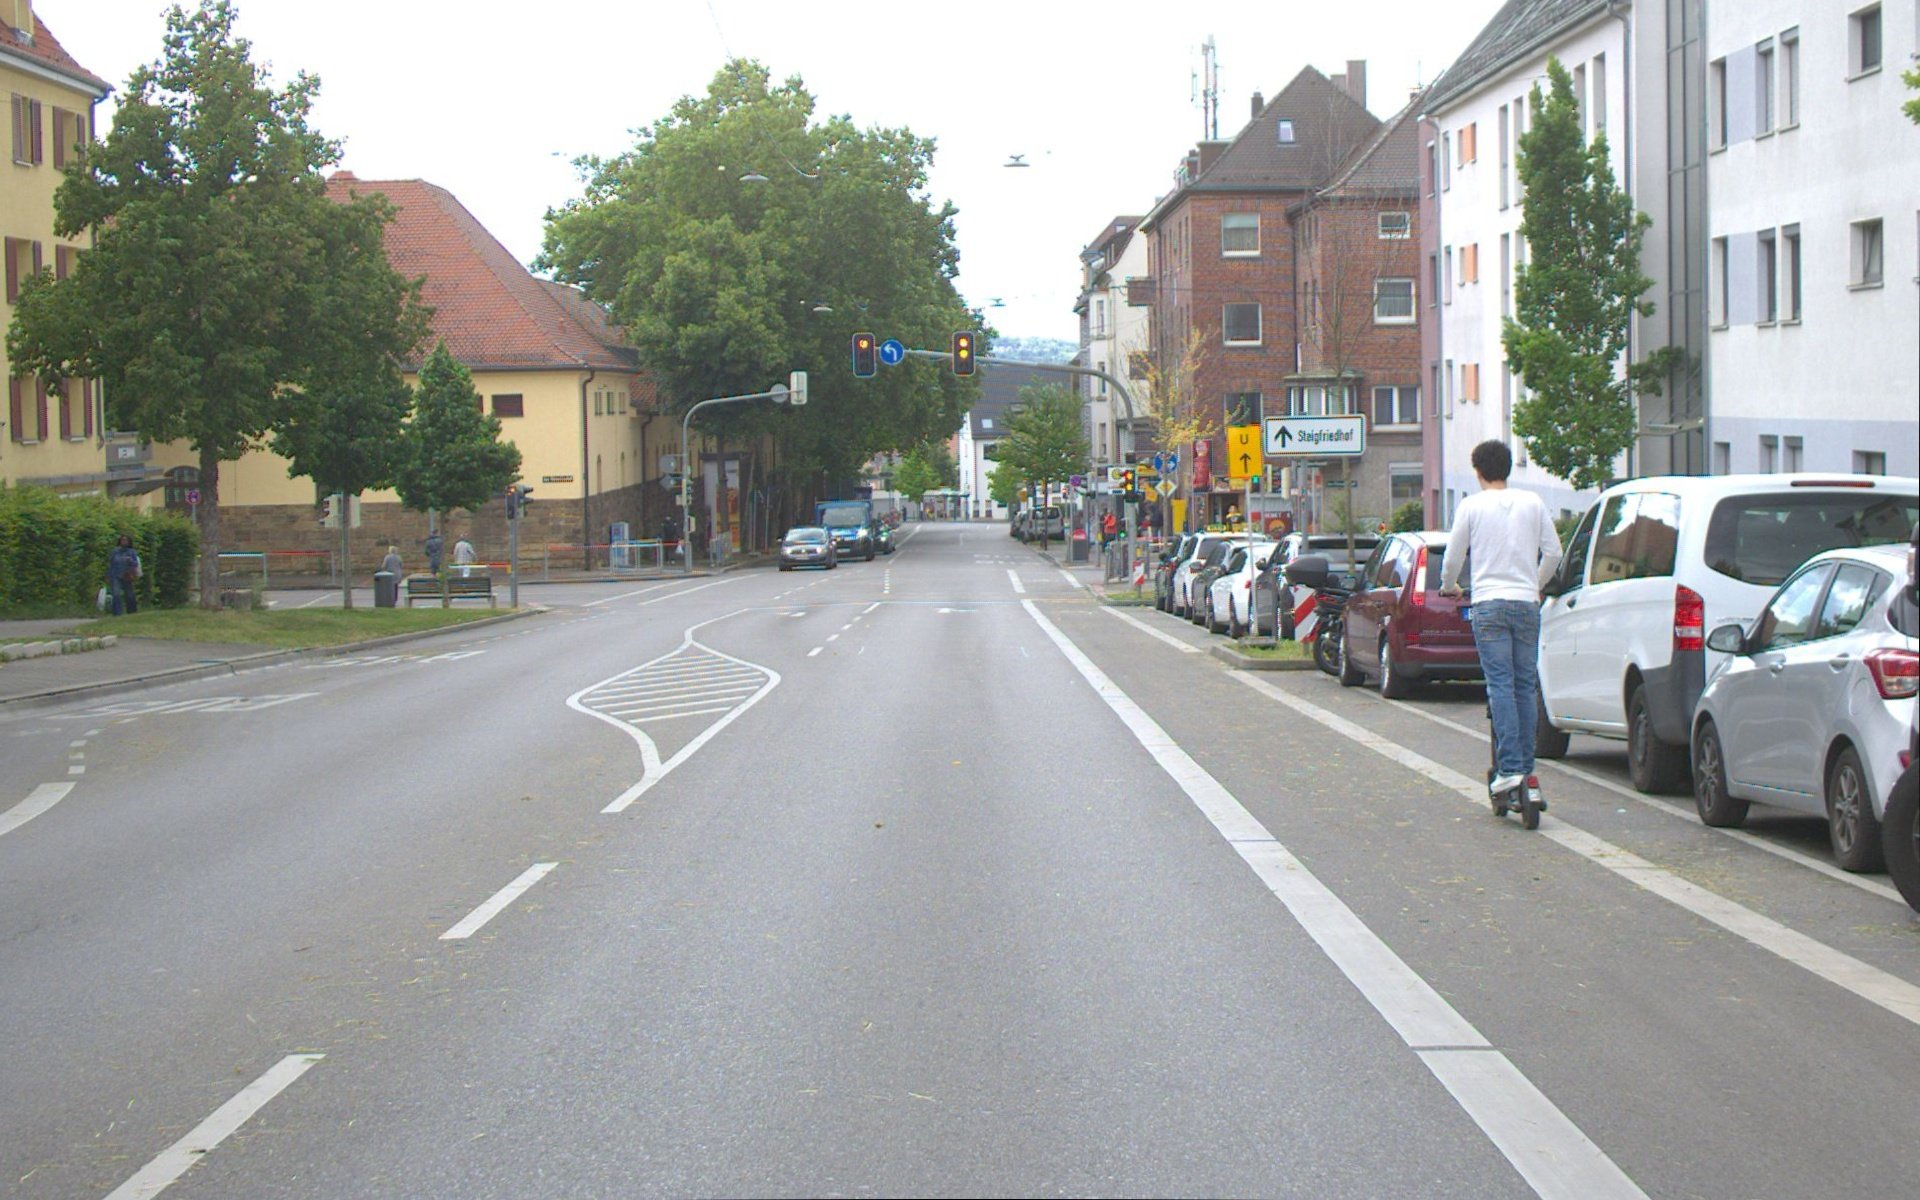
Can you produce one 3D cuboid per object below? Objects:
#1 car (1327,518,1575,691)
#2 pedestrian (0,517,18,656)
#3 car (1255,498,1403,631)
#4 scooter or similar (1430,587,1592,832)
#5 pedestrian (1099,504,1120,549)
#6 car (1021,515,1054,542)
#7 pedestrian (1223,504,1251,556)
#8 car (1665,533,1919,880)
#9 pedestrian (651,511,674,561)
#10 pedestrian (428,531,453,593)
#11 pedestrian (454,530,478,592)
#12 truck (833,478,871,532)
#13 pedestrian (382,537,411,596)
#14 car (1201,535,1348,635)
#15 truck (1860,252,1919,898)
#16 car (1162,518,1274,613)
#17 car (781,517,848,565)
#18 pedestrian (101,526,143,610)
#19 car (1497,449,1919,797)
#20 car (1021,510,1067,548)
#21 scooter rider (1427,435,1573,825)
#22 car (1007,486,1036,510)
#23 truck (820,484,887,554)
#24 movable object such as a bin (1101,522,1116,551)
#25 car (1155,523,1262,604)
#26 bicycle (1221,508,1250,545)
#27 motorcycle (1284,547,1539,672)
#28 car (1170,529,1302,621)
[{"bbox_3d":[4.680,-0.010,33.316,1.680,1.539,4.339,0,2,-1],"label":"car"},{"bbox_3d":[-12.114,-0.170,42.598,0.597,1.721,0.861,0,1,3],"label":"pedestrian"},{"bbox_3d":[5.023,-0.533,47.241,1.632,1.644,4.357,1,3,1],"label":"car"},{"bbox_3d":[2.882,0.540,18.137,0.490,1.159,2.075,-1,2,-1],"label":"scooter or similar"},{"bbox_3d":[5.497,-2.689,126.167,0.565,1.631,0.680,0,2,20],"label":"pedestrian"},{"bbox_3d":[4.530,-4.210,202.271,1.668,1.542,3.757,-1,2,-3],"label":"car"},{"bbox_3d":[9.083,-2.296,112.795,0.788,1.650,0.772,-3,1,1],"label":"pedestrian"},{"bbox_3d":[4.689,0.433,16.850,1.525,1.480,3.727,1,2,-3],"label":"car"},{"bbox_3d":[-10.457,-2.243,120.806,0.674,1.759,0.725,-1,1,2],"label":"pedestrian"},{"bbox_3d":[-14.933,-1.103,98.885,0.564,1.771,0.842,-1,1,0],"label":"pedestrian"},{"bbox_3d":[-14.151,-1.114,98.469,0.564,1.771,0.717,-1,1,0],"label":"pedestrian"},{"bbox_3d":[-6.728,-5.943,214.956,2.231,3.335,7.450,-1,2,-1],"label":"truck"},{"bbox_3d":[-15.170,-0.909,92.568,0.564,1.561,0.842,-1,1,5],"label":"pedestrian"},{"bbox_3d":[4.754,-0.267,52.508,1.730,1.408,4.500,1,2,-1],"label":"car"},{"bbox_3d":[4.859,-0.047,11.588,2.052,2.556,5.690,-1,2,-1],"label":"truck"},{"bbox_3d":[4.864,-0.684,65.251,1.659,1.710,4.552,1,2,-1],"label":"car"},{"bbox_3d":[-4.814,-1.977,114.274,1.756,1.467,4.306,-2,2,3],"label":"car"},{"bbox_3d":[-16.167,-0.621,66.362,0.640,1.613,0.618,-1,1,-1],"label":"pedestrian"},{"bbox_3d":[4.861,0.054,21.893,1.993,1.937,5.212,-1,2,-1],"label":"car"},{"bbox_3d":[4.344,-3.710,178.672,1.993,1.929,4.920,-1,2,-3],"label":"car"},{"bbox_3d":[2.841,0.146,18.134,0.625,2.007,0.758,-1,1,-1],"label":"scooter rider"},{"bbox_3d":[4.137,-6.871,231.348,1.668,1.542,3.757,-1,2,-3],"label":"car"},{"bbox_3d":[-3.984,-3.013,127.341,2.295,2.419,6.412,-2,2,-2],"label":"truck"},{"bbox_3d":[5.451,-2.318,125.971,0.453,1.053,0.410,0,1,20],"label":"movable object such as a bin"},{"bbox_3d":[5.019,-0.760,70.048,1.734,1.583,4.573,1,1,-1],"label":"car"},{"bbox_3d":[9.029,-2.427,112.855,0.760,1.189,2.392,-1,2,0],"label":"bicycle"},{"bbox_3d":[4.824,0.094,36.833,2.597,1.274,0.753,-1,1,-4],"label":"motorcycle"},{"bbox_3d":[4.701,-0.465,59.215,1.745,1.462,4.950,1,2,-1],"label":"car"}]
